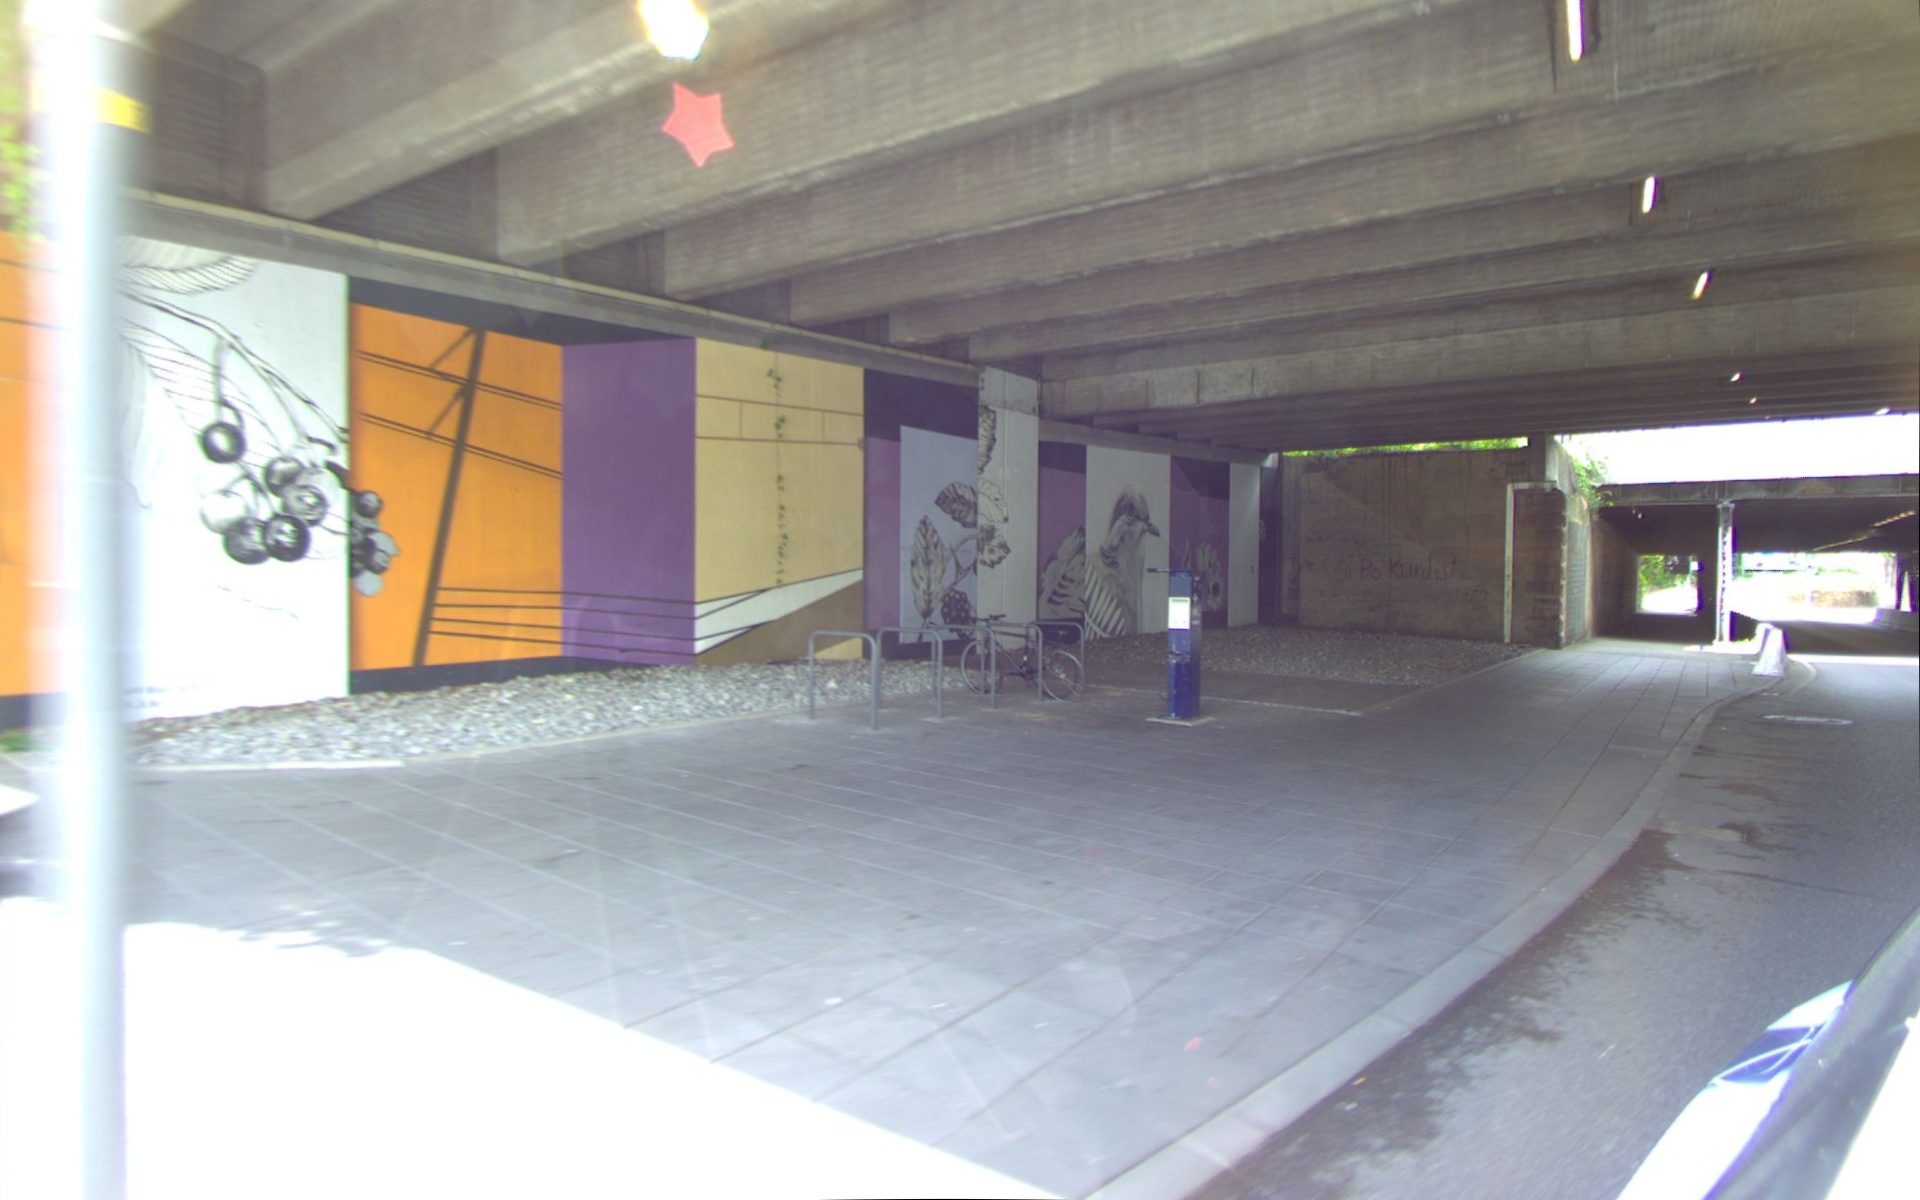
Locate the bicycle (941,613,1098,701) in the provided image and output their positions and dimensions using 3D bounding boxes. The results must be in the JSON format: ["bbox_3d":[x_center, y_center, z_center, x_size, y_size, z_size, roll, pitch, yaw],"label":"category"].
[{"bbox_3d":[0.698,0.661,12.339,1.940,0.915,0.500,3,2,36],"label":"bicycle"}]
